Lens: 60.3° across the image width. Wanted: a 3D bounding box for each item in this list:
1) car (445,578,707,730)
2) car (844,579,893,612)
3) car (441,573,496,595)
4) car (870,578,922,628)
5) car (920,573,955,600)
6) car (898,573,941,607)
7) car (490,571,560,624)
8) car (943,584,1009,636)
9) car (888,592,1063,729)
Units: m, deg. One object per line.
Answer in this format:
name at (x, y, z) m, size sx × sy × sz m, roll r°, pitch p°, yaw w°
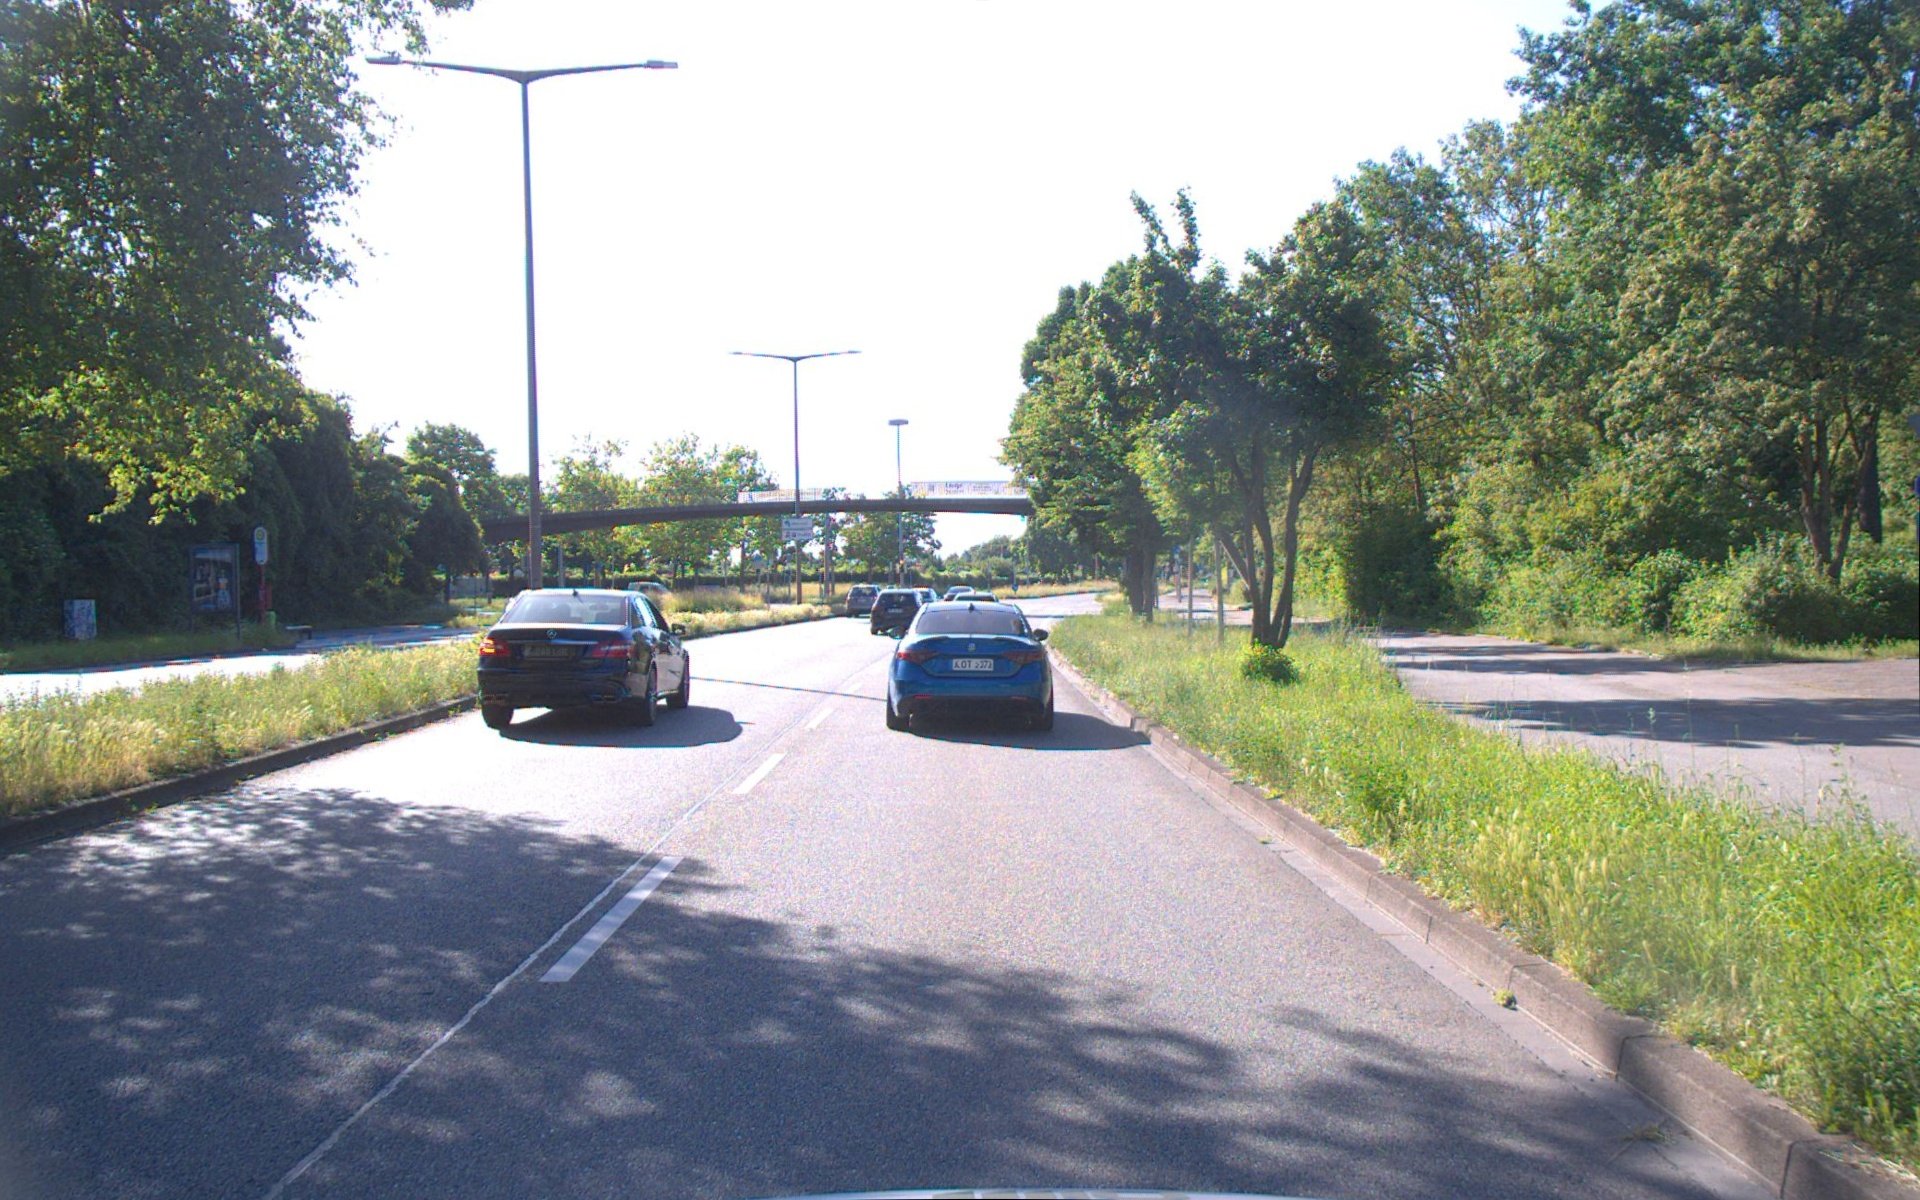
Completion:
car at (-4.270, 0.527, 19.246) m, size 1.919 × 1.508 × 4.918 m, roll -1°, pitch 1°, yaw -1°
car at (-4.528, -0.238, 82.093) m, size 1.759 × 1.583 × 3.733 m, roll 0°, pitch 0°, yaw 7°
car at (-47.625, -1.555, 160.335) m, size 4.686 × 2.049 × 2.000 m, roll 0°, pitch 0°, yaw 1°
car at (-2.225, 0.096, 56.748) m, size 1.674 × 1.626 × 4.221 m, roll 0°, pitch 0°, yaw -4°
car at (-1.265, -0.730, 91.512) m, size 1.845 × 1.479 × 4.525 m, roll 0°, pitch 0°, yaw -1°
car at (-1.814, -0.459, 74.248) m, size 1.845 × 1.479 × 4.525 m, roll 0°, pitch 0°, yaw -1°
car at (-17.679, -0.111, 67.351) m, size 1.954 × 2.049 × 4.578 m, roll 0°, pitch 0°, yaw -5°
car at (0.439, 0.263, 49.413) m, size 1.845 × 1.479 × 4.525 m, roll 0°, pitch 0°, yaw -1°
car at (0.123, 0.629, 19.599) m, size 1.845 × 1.431 × 4.223 m, roll 0°, pitch 0°, yaw -1°
